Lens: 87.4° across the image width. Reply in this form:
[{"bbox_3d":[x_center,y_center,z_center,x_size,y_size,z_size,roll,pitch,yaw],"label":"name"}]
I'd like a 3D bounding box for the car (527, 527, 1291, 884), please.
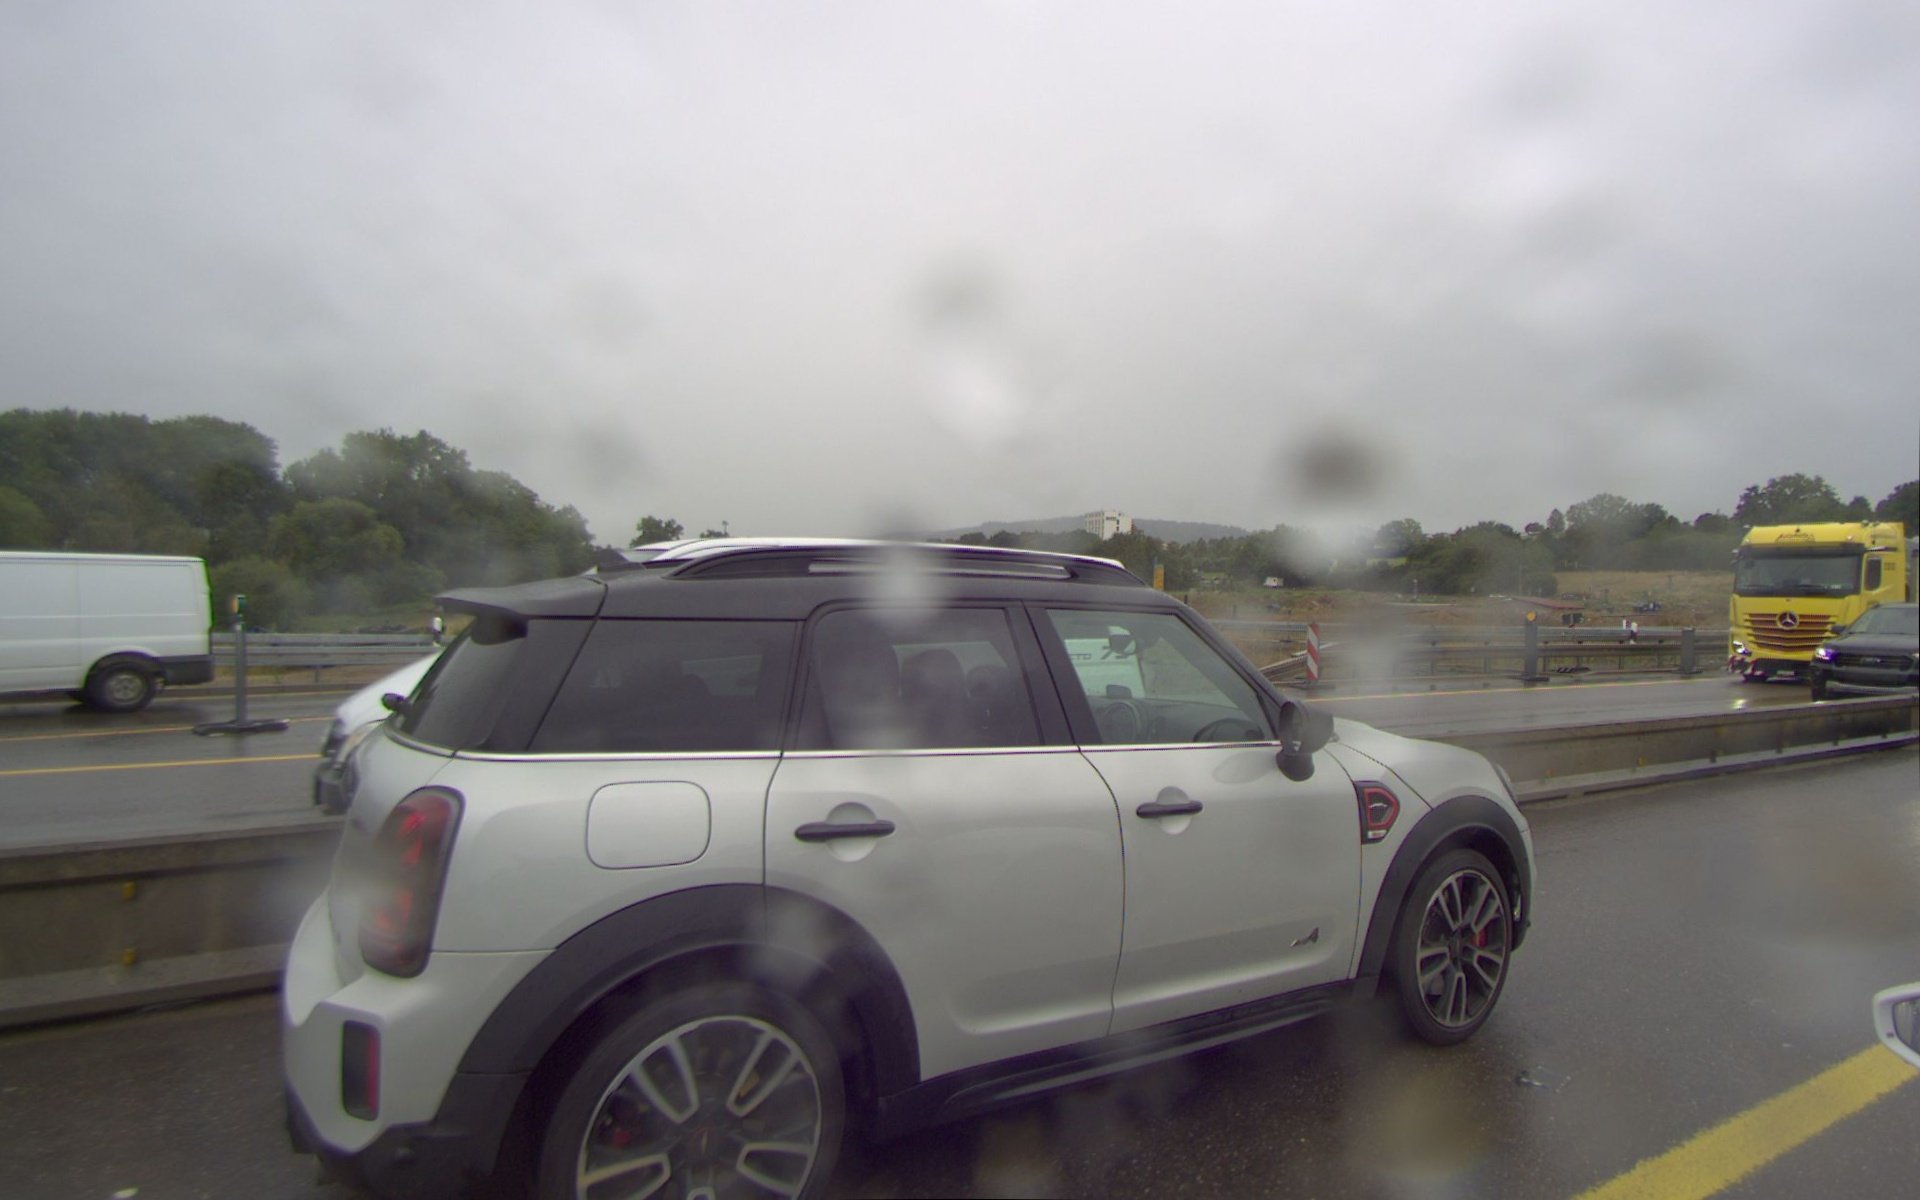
[{"bbox_3d":[-0.151,0.583,7.295,5.298,1.816,1.865,1,0,-31],"label":"car"}]

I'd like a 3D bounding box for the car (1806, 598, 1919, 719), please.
[{"bbox_3d":[16.483,0.933,17.002,5.130,1.829,1.778,1,-1,-31],"label":"car"}]

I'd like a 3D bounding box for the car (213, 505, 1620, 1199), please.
[{"bbox_3d":[0.192,0.661,3.480,4.257,1.622,1.807,0,1,-30],"label":"car"}]

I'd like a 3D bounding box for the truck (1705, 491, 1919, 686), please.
[{"bbox_3d":[20.805,-0.207,23.954,6.077,4.116,2.735,1,0,-31],"label":"truck"}]

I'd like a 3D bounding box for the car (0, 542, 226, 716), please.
[{"bbox_3d":[-12.271,0.322,12.176,2.236,2.040,5.027,1,0,37],"label":"car"}]

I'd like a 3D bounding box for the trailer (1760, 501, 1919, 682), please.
[{"bbox_3d":[27.158,-0.089,27.784,15.182,4.096,2.735,1,0,-31],"label":"trailer"}]
